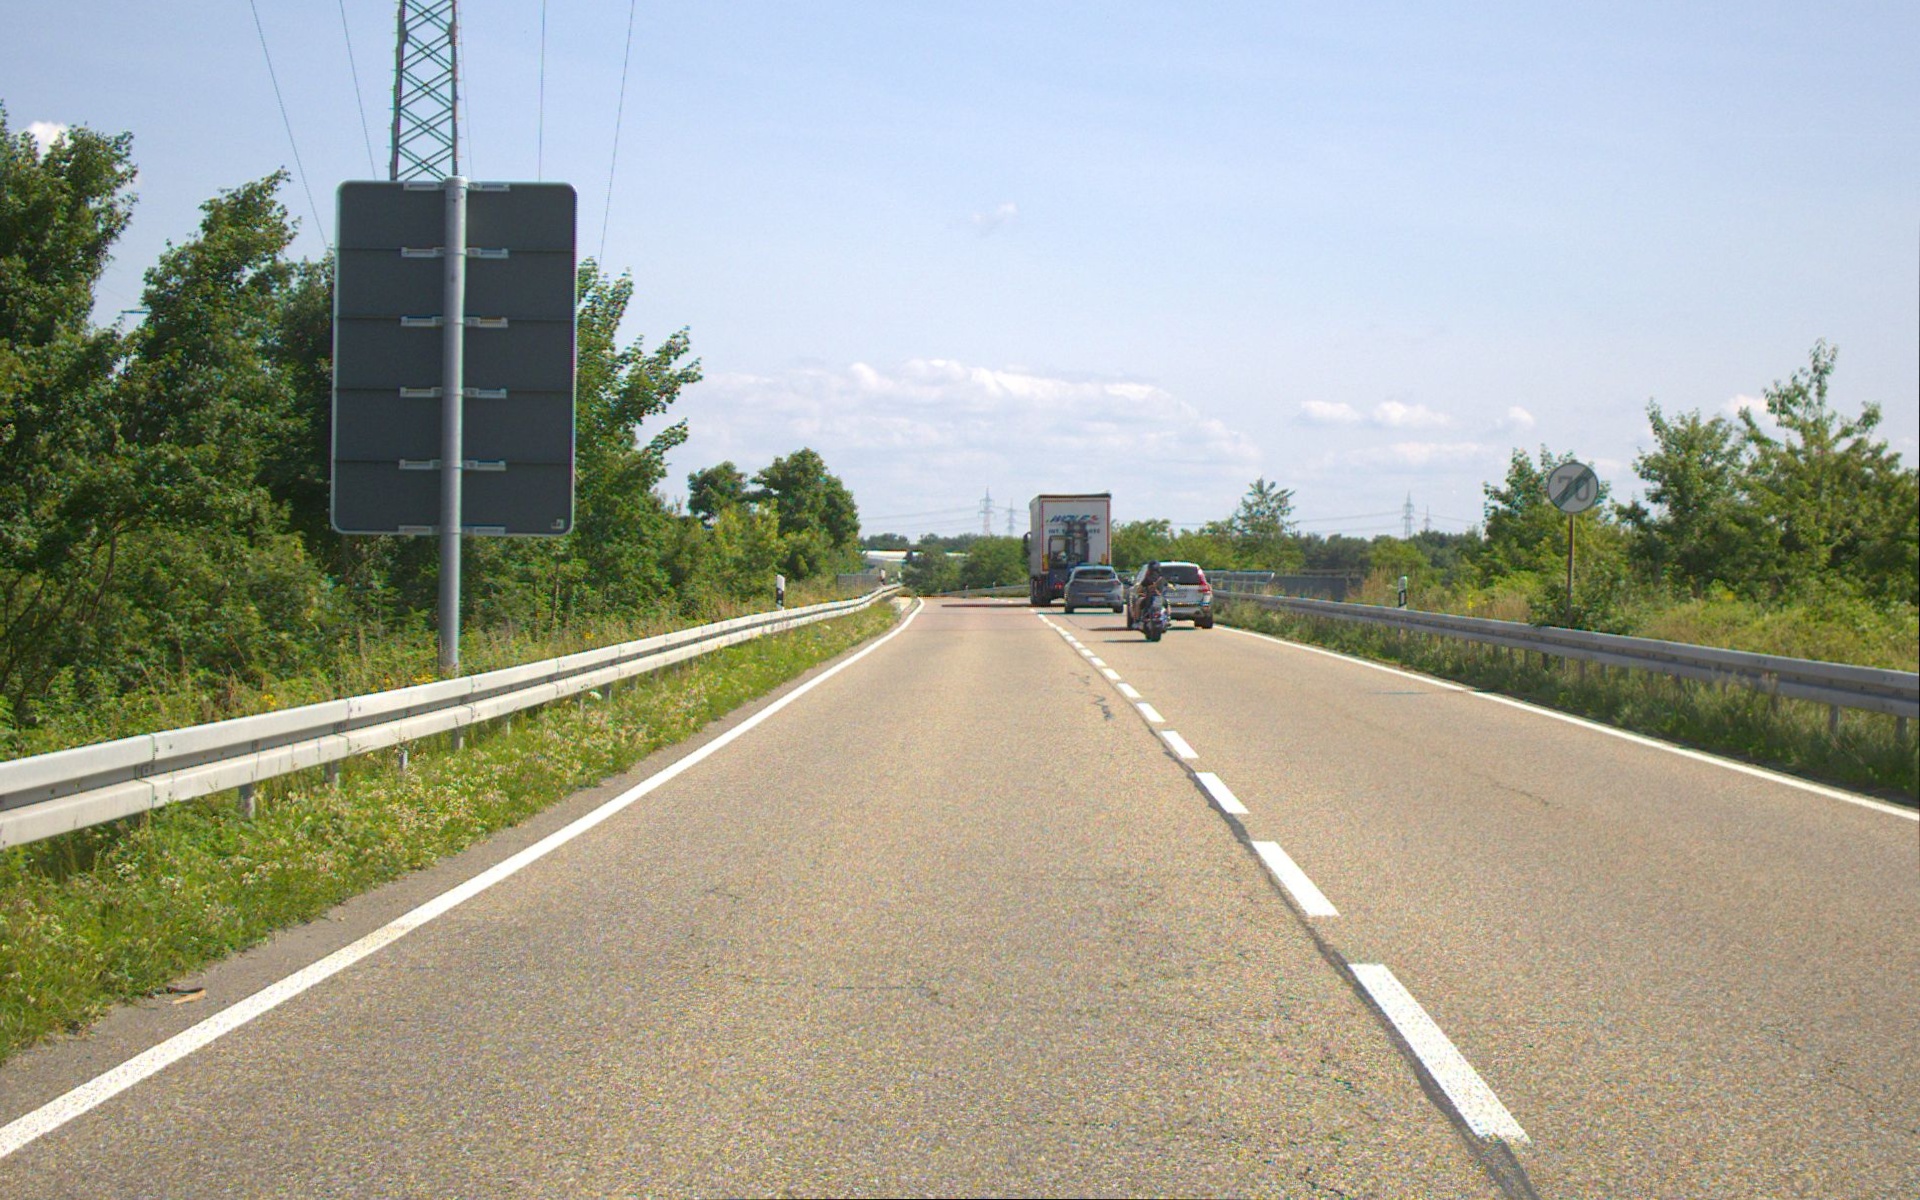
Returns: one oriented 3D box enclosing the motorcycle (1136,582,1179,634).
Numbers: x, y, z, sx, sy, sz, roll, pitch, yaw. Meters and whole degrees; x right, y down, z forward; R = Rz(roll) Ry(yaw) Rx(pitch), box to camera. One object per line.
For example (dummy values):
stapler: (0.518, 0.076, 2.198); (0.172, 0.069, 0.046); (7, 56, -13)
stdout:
motorcycle: (3.857, 0.147, 67.254); (0.780, 0.972, 2.361); (0, 1, 2)

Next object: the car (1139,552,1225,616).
car: (5.141, -0.391, 80.138); (1.825, 1.446, 4.000); (0, 1, 1)

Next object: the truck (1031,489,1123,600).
truck: (4.307, -2.022, 127.360); (3.242, 3.965, 9.443); (0, 0, 2)

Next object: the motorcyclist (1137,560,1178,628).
motorcyclist: (3.868, -0.121, 67.270); (0.780, 1.321, 0.813); (0, 1, 2)

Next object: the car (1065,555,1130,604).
car: (4.146, -0.644, 104.169); (1.866, 1.415, 4.000); (0, 1, 1)
